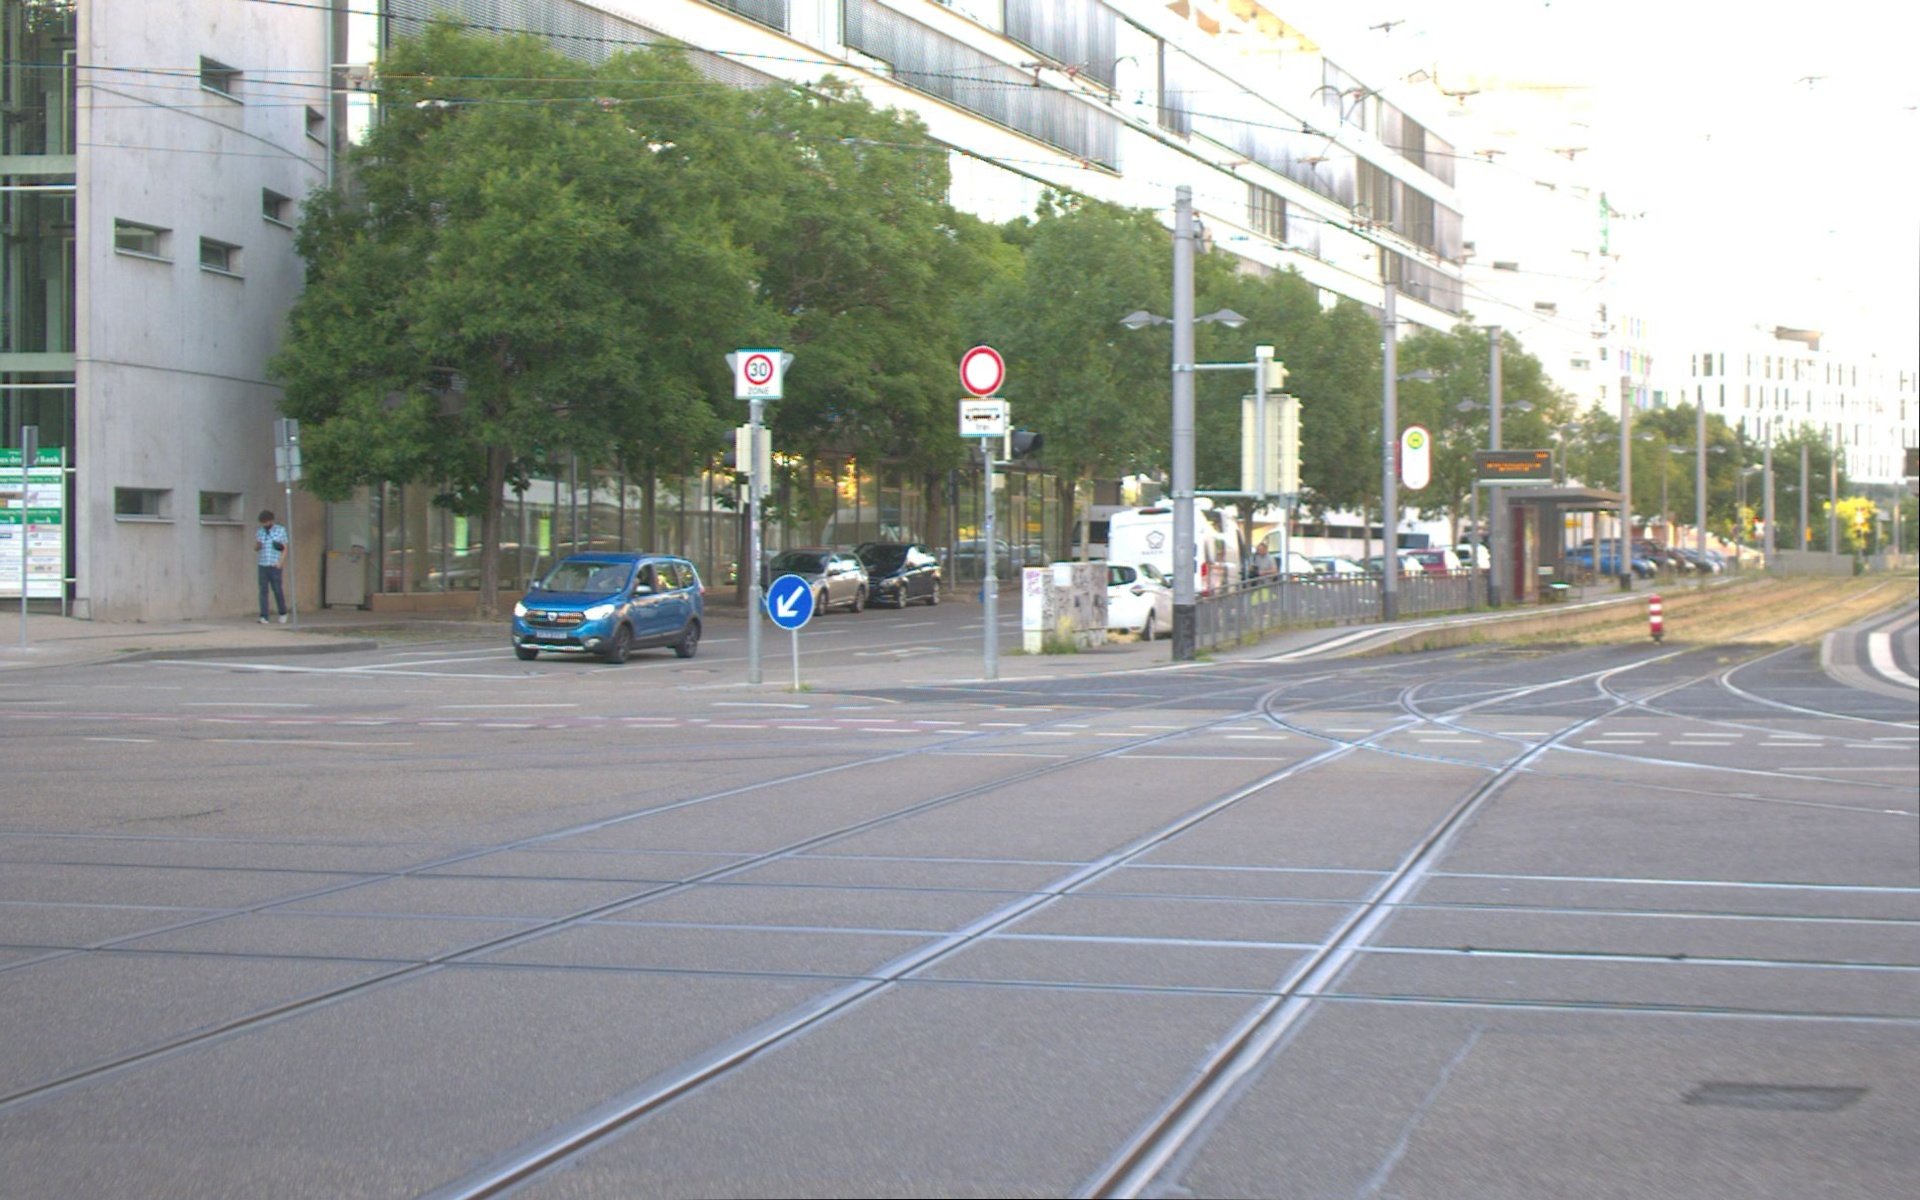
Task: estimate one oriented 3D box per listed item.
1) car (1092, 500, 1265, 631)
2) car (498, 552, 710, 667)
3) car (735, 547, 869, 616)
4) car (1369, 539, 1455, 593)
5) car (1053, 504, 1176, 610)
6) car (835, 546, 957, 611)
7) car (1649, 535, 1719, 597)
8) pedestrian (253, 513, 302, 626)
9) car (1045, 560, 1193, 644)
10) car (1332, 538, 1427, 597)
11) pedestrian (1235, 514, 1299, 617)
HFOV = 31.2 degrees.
[{"bbox_3d":[4.376,-0.715,67.887,2.462,2.474,5.805,0,1,13],"label":"car"},{"bbox_3d":[-5.510,0.112,53.728,1.684,1.694,4.235,1,1,19],"label":"car"},{"bbox_3d":[-3.562,-0.445,78.211,1.684,1.496,4.235,1,1,18],"label":"car"},{"bbox_3d":[12.426,-0.959,94.389,1.684,1.434,4.122,1,1,17],"label":"car"},{"bbox_3d":[4.783,-1.350,105.224,2.203,3.141,6.137,1,1,18],"label":"car"},{"bbox_3d":[-1.525,-0.543,83.796,1.684,1.496,4.235,1,1,18],"label":"car"},{"bbox_3d":[23.930,-1.135,113.563,1.995,2.007,3.997,0,1,15],"label":"car"},{"bbox_3d":[-11.653,-0.520,58.694,0.662,1.916,0.548,0,1,6],"label":"pedestrian"},{"bbox_3d":[2.907,0.007,62.115,1.684,1.434,4.122,1,1,17],"label":"car"},{"bbox_3d":[10.558,-0.840,86.331,1.684,1.434,4.122,1,1,17],"label":"car"},{"bbox_3d":[6.090,-0.686,68.259,1.039,2.023,0.984,0,1,-10],"label":"pedestrian"}]
